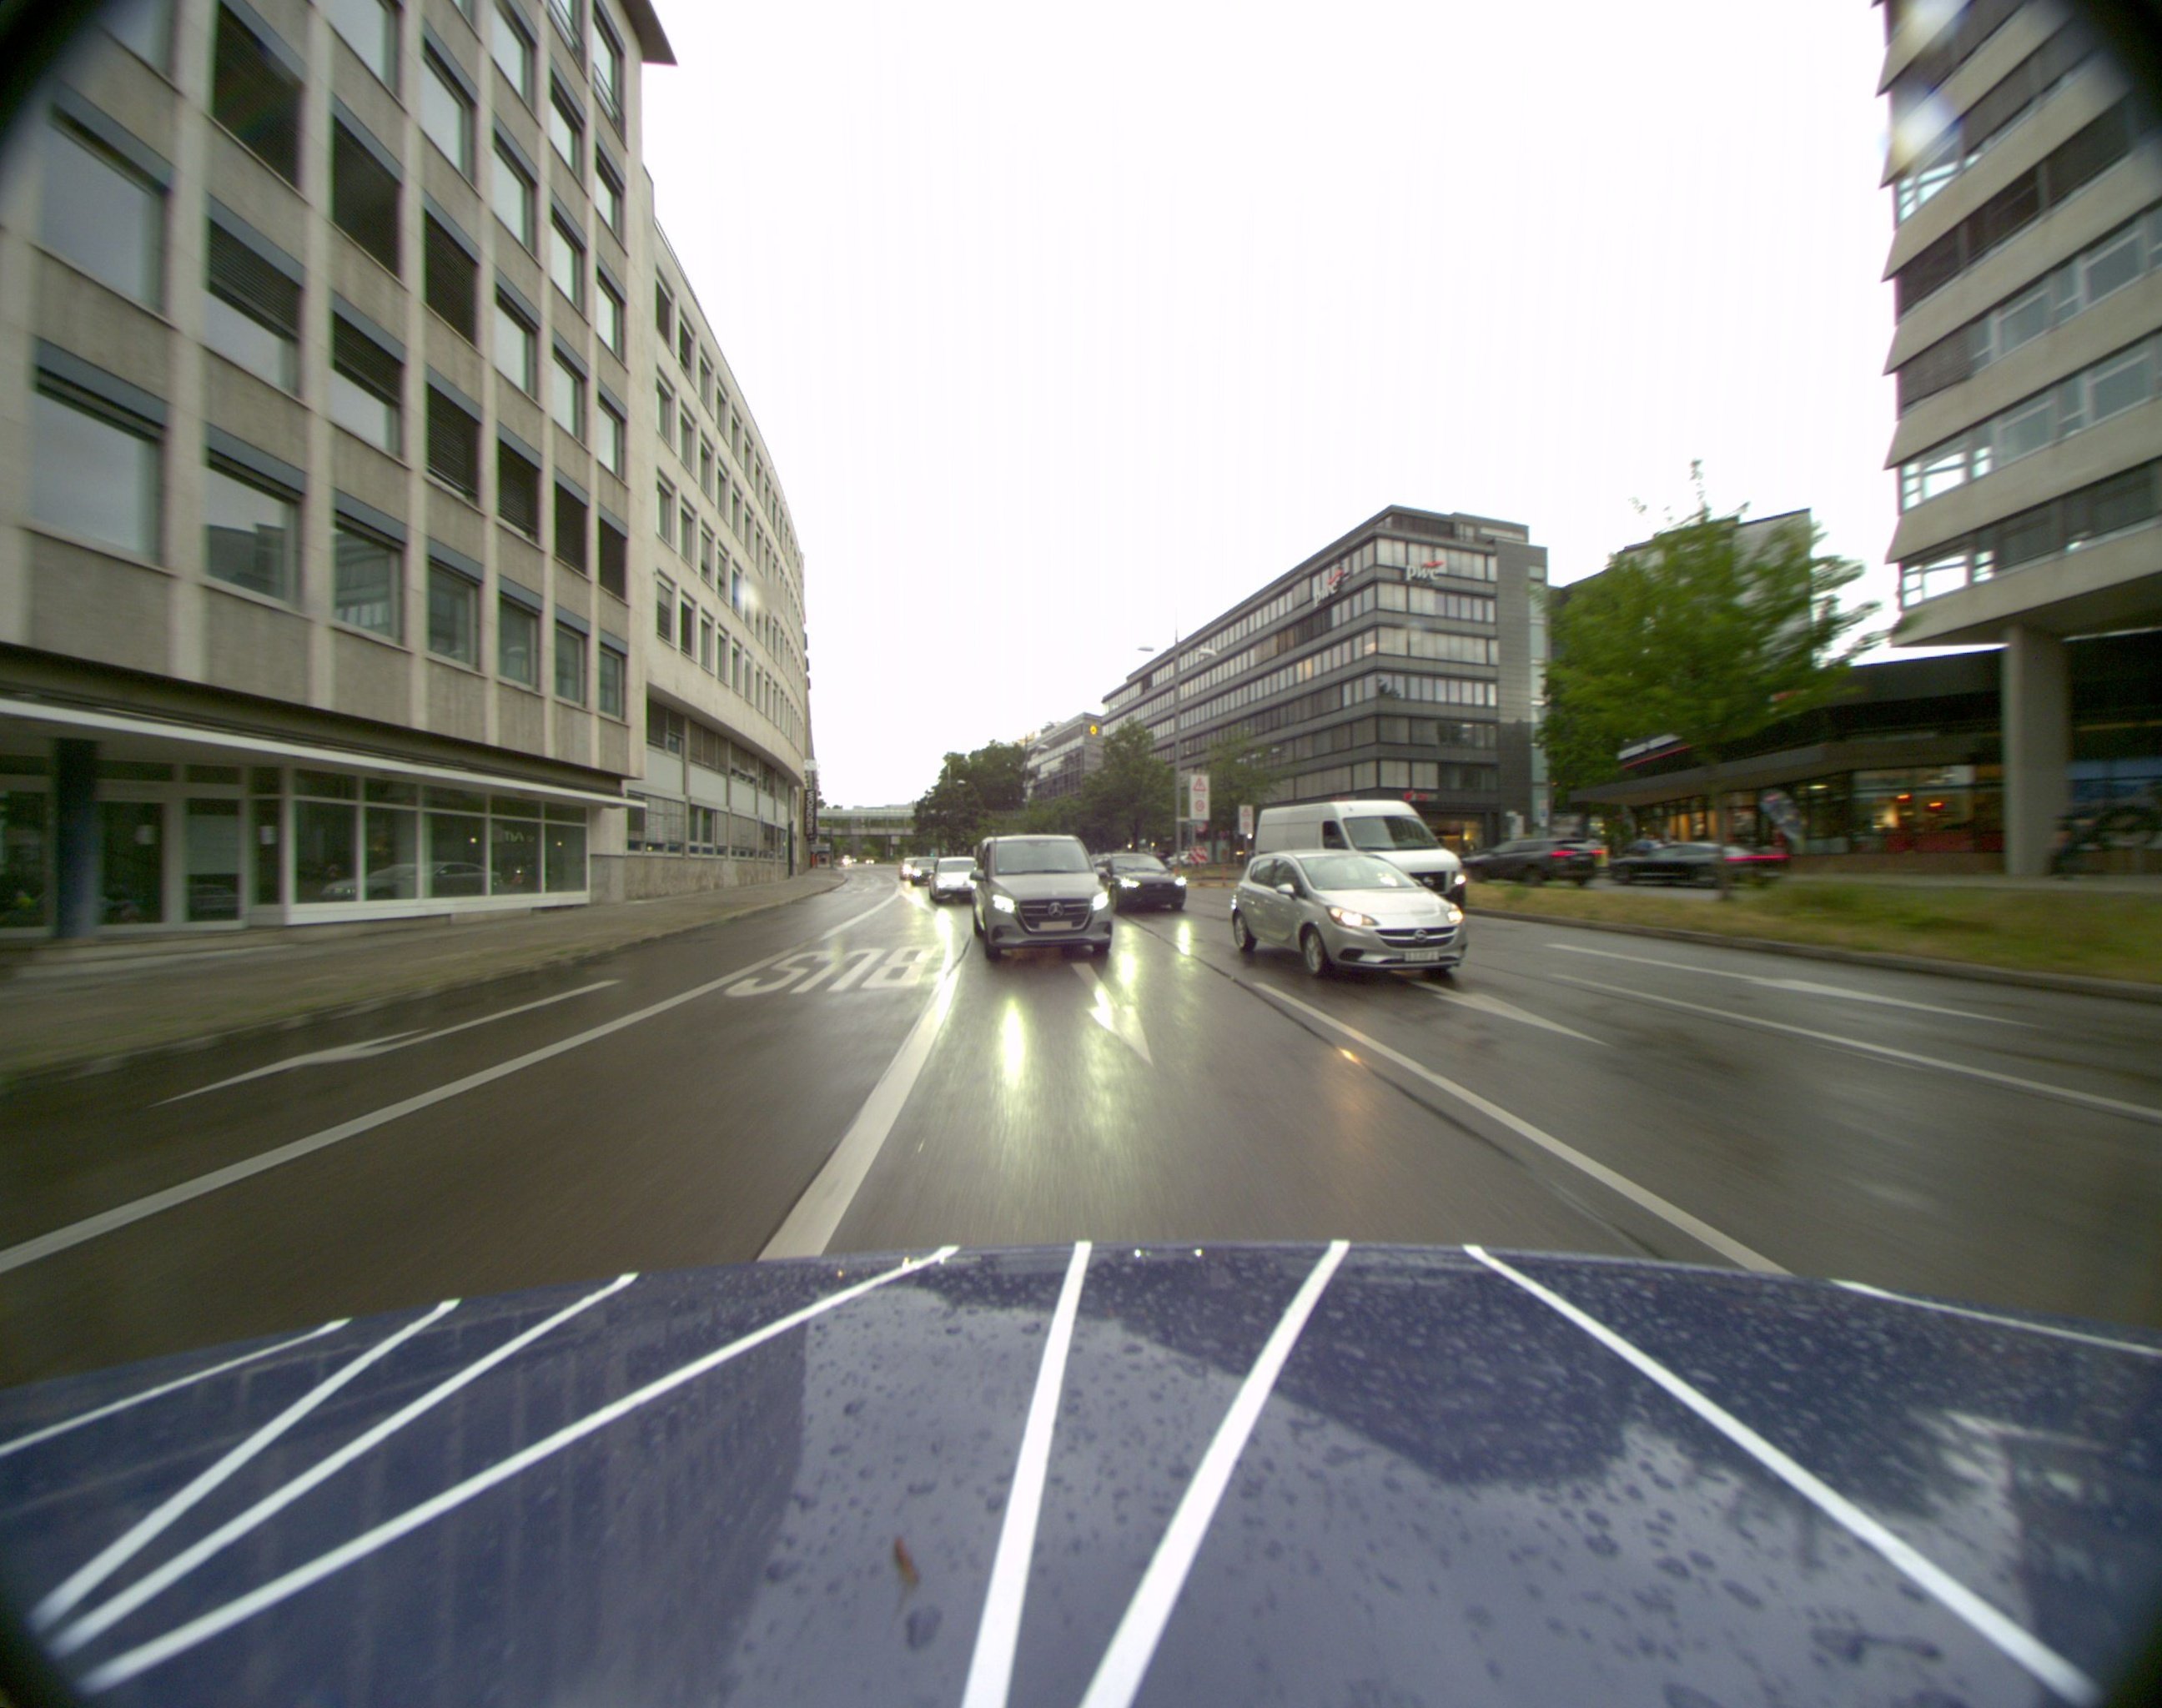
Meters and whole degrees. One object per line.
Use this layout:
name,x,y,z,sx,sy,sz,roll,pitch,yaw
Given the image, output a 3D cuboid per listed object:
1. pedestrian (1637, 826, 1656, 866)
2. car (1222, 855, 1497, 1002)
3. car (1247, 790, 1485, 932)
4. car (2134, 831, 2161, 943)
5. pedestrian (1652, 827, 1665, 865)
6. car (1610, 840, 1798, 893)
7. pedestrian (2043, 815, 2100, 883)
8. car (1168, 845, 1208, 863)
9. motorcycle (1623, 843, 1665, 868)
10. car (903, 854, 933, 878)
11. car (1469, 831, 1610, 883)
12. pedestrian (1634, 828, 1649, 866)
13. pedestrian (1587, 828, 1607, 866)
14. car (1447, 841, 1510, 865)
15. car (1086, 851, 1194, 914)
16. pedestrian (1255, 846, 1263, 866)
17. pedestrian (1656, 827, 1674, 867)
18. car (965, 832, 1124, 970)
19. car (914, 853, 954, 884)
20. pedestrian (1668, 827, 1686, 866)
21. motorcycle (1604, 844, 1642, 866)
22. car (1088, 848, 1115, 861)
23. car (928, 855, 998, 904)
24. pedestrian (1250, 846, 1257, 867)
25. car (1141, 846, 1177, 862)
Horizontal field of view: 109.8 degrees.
pedestrian,25.402,-0.363,34.127,0.556,1.761,0.405,-2,1,5
car,3.282,0.766,9.833,1.653,1.427,3.872,-2,1,-8
car,5.620,0.099,16.004,1.953,2.426,5.473,-2,1,-13
car,14.266,0.426,7.756,1.694,1.377,3.867,-2,1,1
pedestrian,26.817,-0.359,35.271,0.328,1.761,0.358,-2,1,5
car,18.756,0.306,23.194,1.868,1.371,4.407,-2,1,-6
pedestrian,25.117,-0.137,19.270,0.680,1.674,0.761,-2,1,-26
car,9.836,-0.006,70.122,2.001,1.498,3.993,-2,1,-19
motorcycle,28.089,0.075,37.911,1.665,1.226,0.361,-1,1,36
car,-11.117,0.760,51.659,1.724,1.456,4.031,-3,1,-14
car,15.174,0.074,25.418,1.649,1.527,4.148,-2,1,-11
pedestrian,25.958,-0.325,35.199,0.328,1.761,0.437,-2,1,4
pedestrian,24.241,-0.346,35.714,0.536,1.761,0.550,-2,1,5
car,28.699,-0.051,54.866,3.766,1.575,1.847,-2,1,-17
car,1.434,0.673,20.181,1.777,1.427,4.090,-2,1,-11
pedestrian,17.566,0.201,74.988,0.576,2.002,0.461,-2,1,-19
pedestrian,26.268,-0.315,34.178,0.428,1.761,0.470,-2,1,5
car,-0.863,0.636,13.083,1.918,1.844,5.021,-2,1,-12
car,-8.106,0.741,41.847,2.000,1.456,4.399,-2,1,-11
pedestrian,26.797,-0.334,34.156,0.428,1.761,0.470,-2,1,5
motorcycle,29.154,0.066,40.899,1.622,1.138,0.360,-1,1,27
car,2.427,0.012,91.936,2.001,1.498,3.993,-2,1,-19
car,-4.048,0.819,25.562,1.932,1.471,3.995,-1,0,-14
pedestrian,16.632,0.242,73.308,0.541,2.002,0.296,-2,1,-19
car,7.778,0.039,76.252,2.001,1.498,4.101,-2,1,-19
